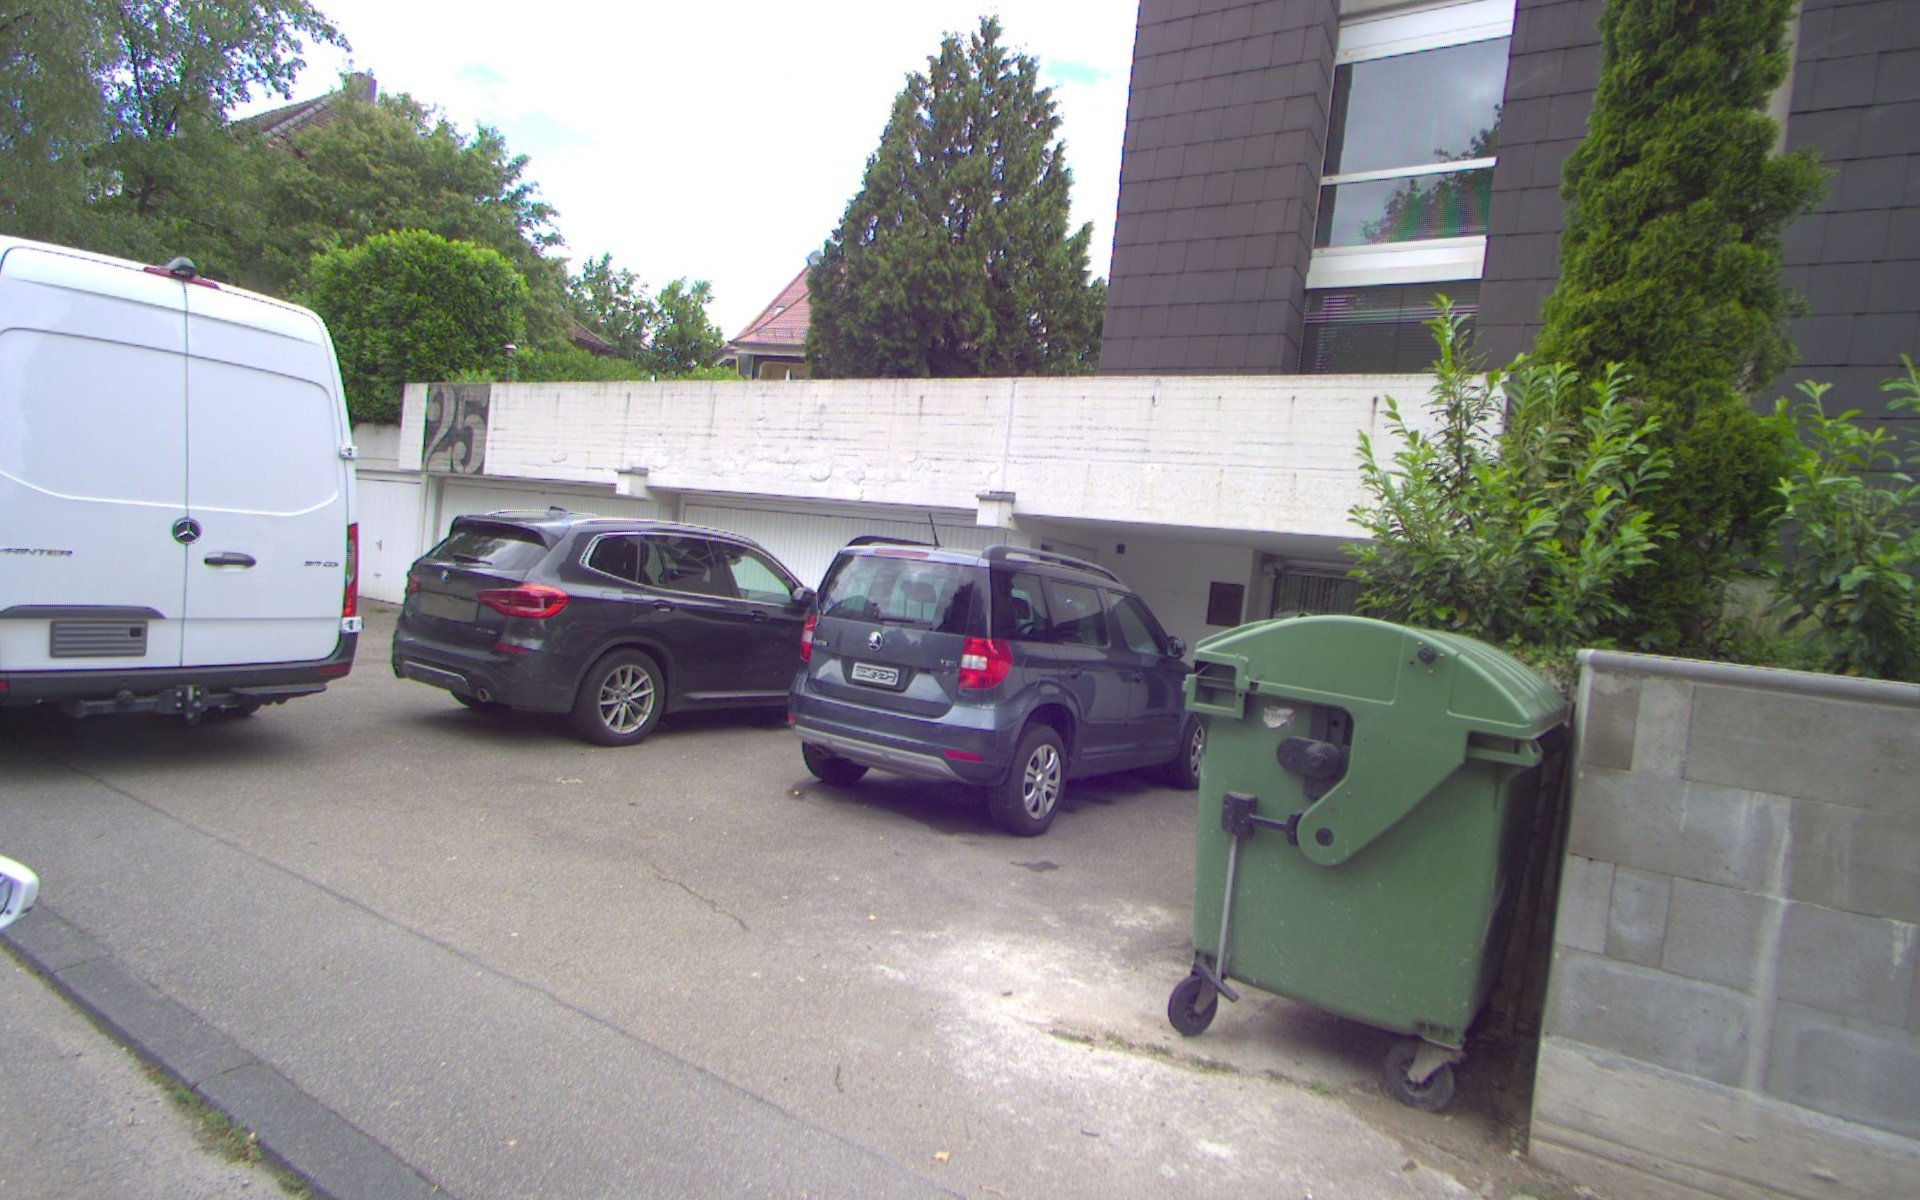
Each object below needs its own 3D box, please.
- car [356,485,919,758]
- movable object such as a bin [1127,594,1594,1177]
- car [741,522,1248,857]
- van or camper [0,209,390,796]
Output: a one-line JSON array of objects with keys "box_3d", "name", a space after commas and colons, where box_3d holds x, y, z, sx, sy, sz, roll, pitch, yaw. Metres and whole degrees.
[{"box_3d": [-2.416, 0.174, 8.689, 1.800, 1.674, 4.394, 7, 2, 33], "name": "car"}, {"box_3d": [1.442, 0.785, 3.531, 1.161, 1.470, 1.300, 6, 2, 31], "name": "movable object such as a bin"}, {"box_3d": [0.507, 0.521, 7.359, 1.801, 1.674, 3.796, 7, 2, 35], "name": "car"}, {"box_3d": [-6.647, -0.714, 6.820, 6.252, 2.664, 1.963, 7, 4, 31], "name": "van or camper"}]
